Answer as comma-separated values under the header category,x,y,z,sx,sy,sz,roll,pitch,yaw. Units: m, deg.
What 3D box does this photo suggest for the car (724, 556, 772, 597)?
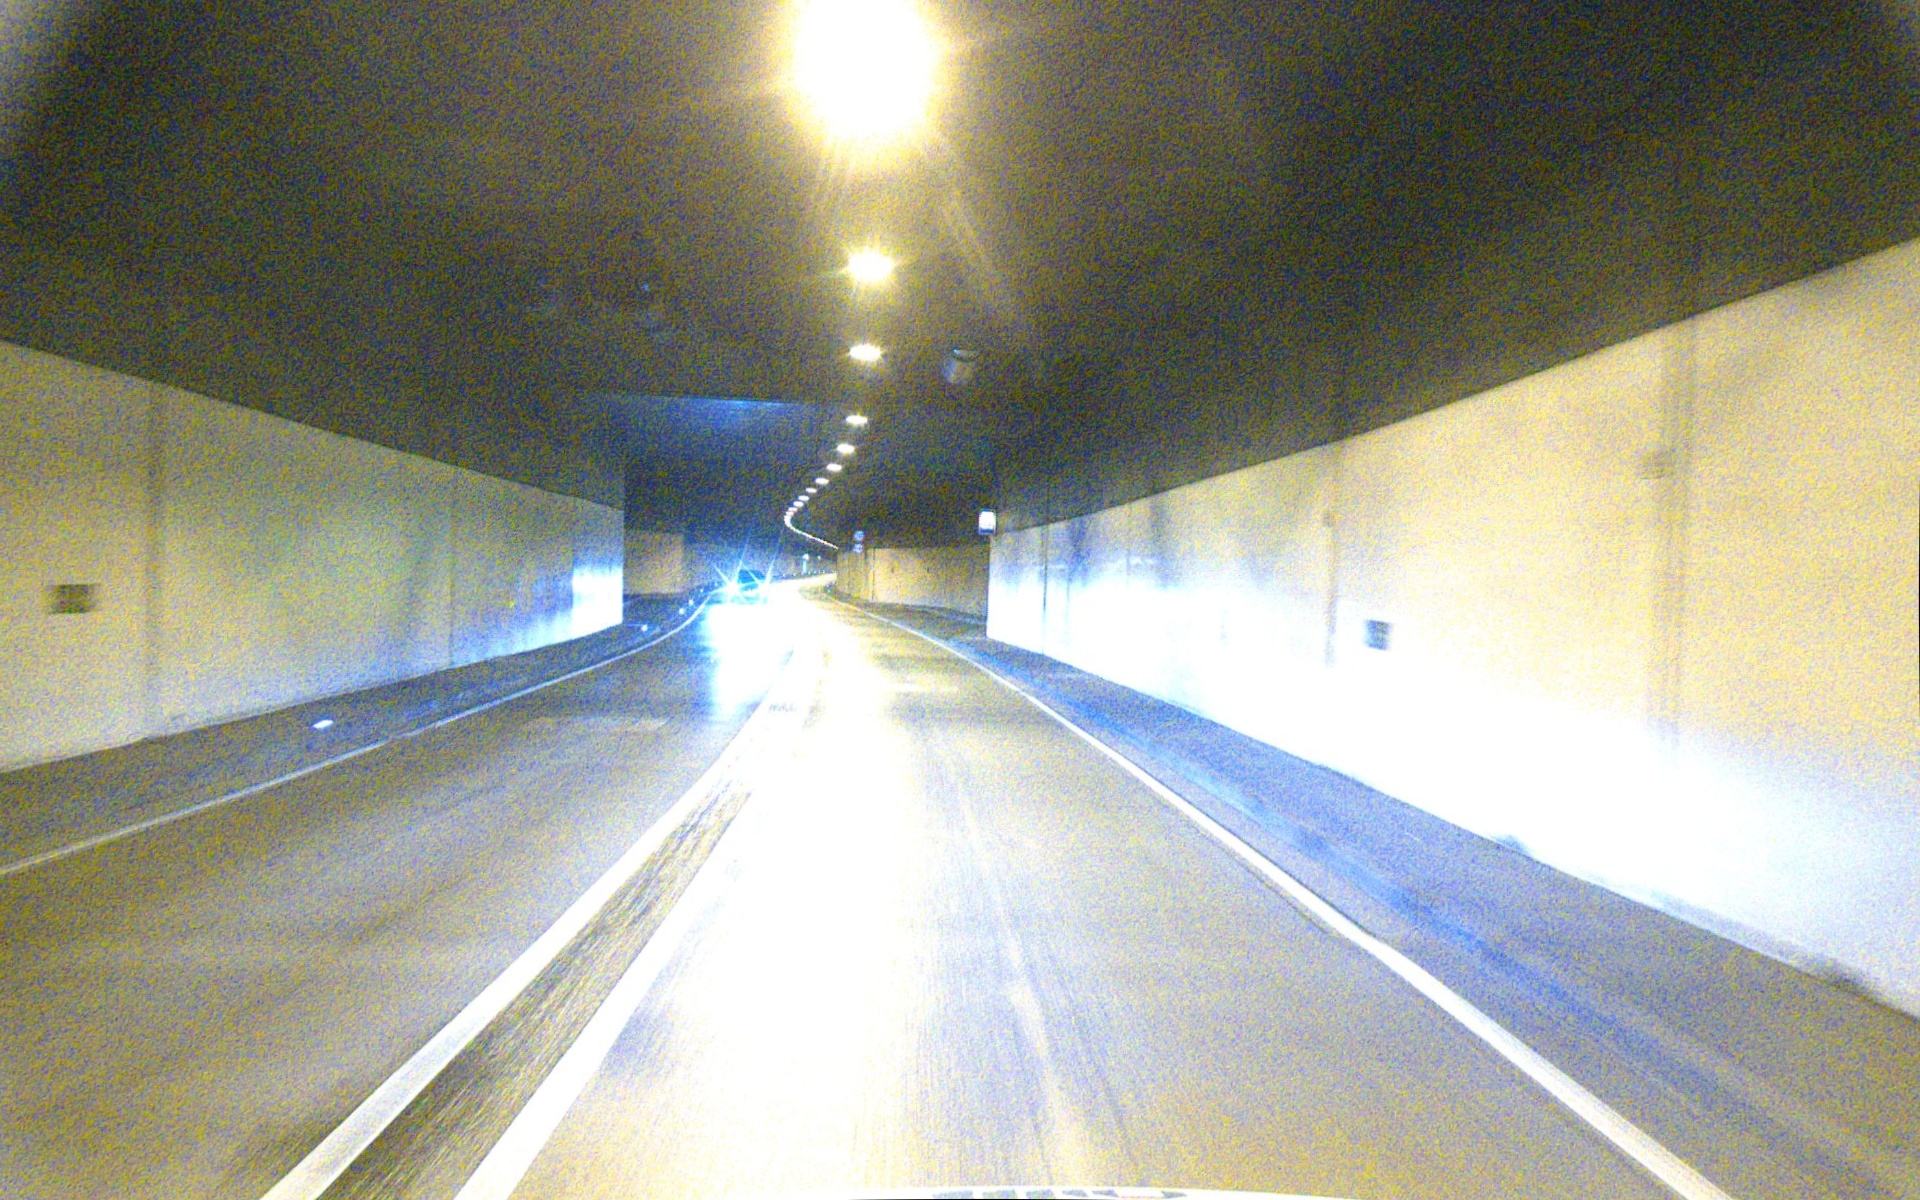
category,x,y,z,sx,sy,sz,roll,pitch,yaw
car,-9.387,-1.025,73.327,1.956,1.624,3.993,3,-1,-7
